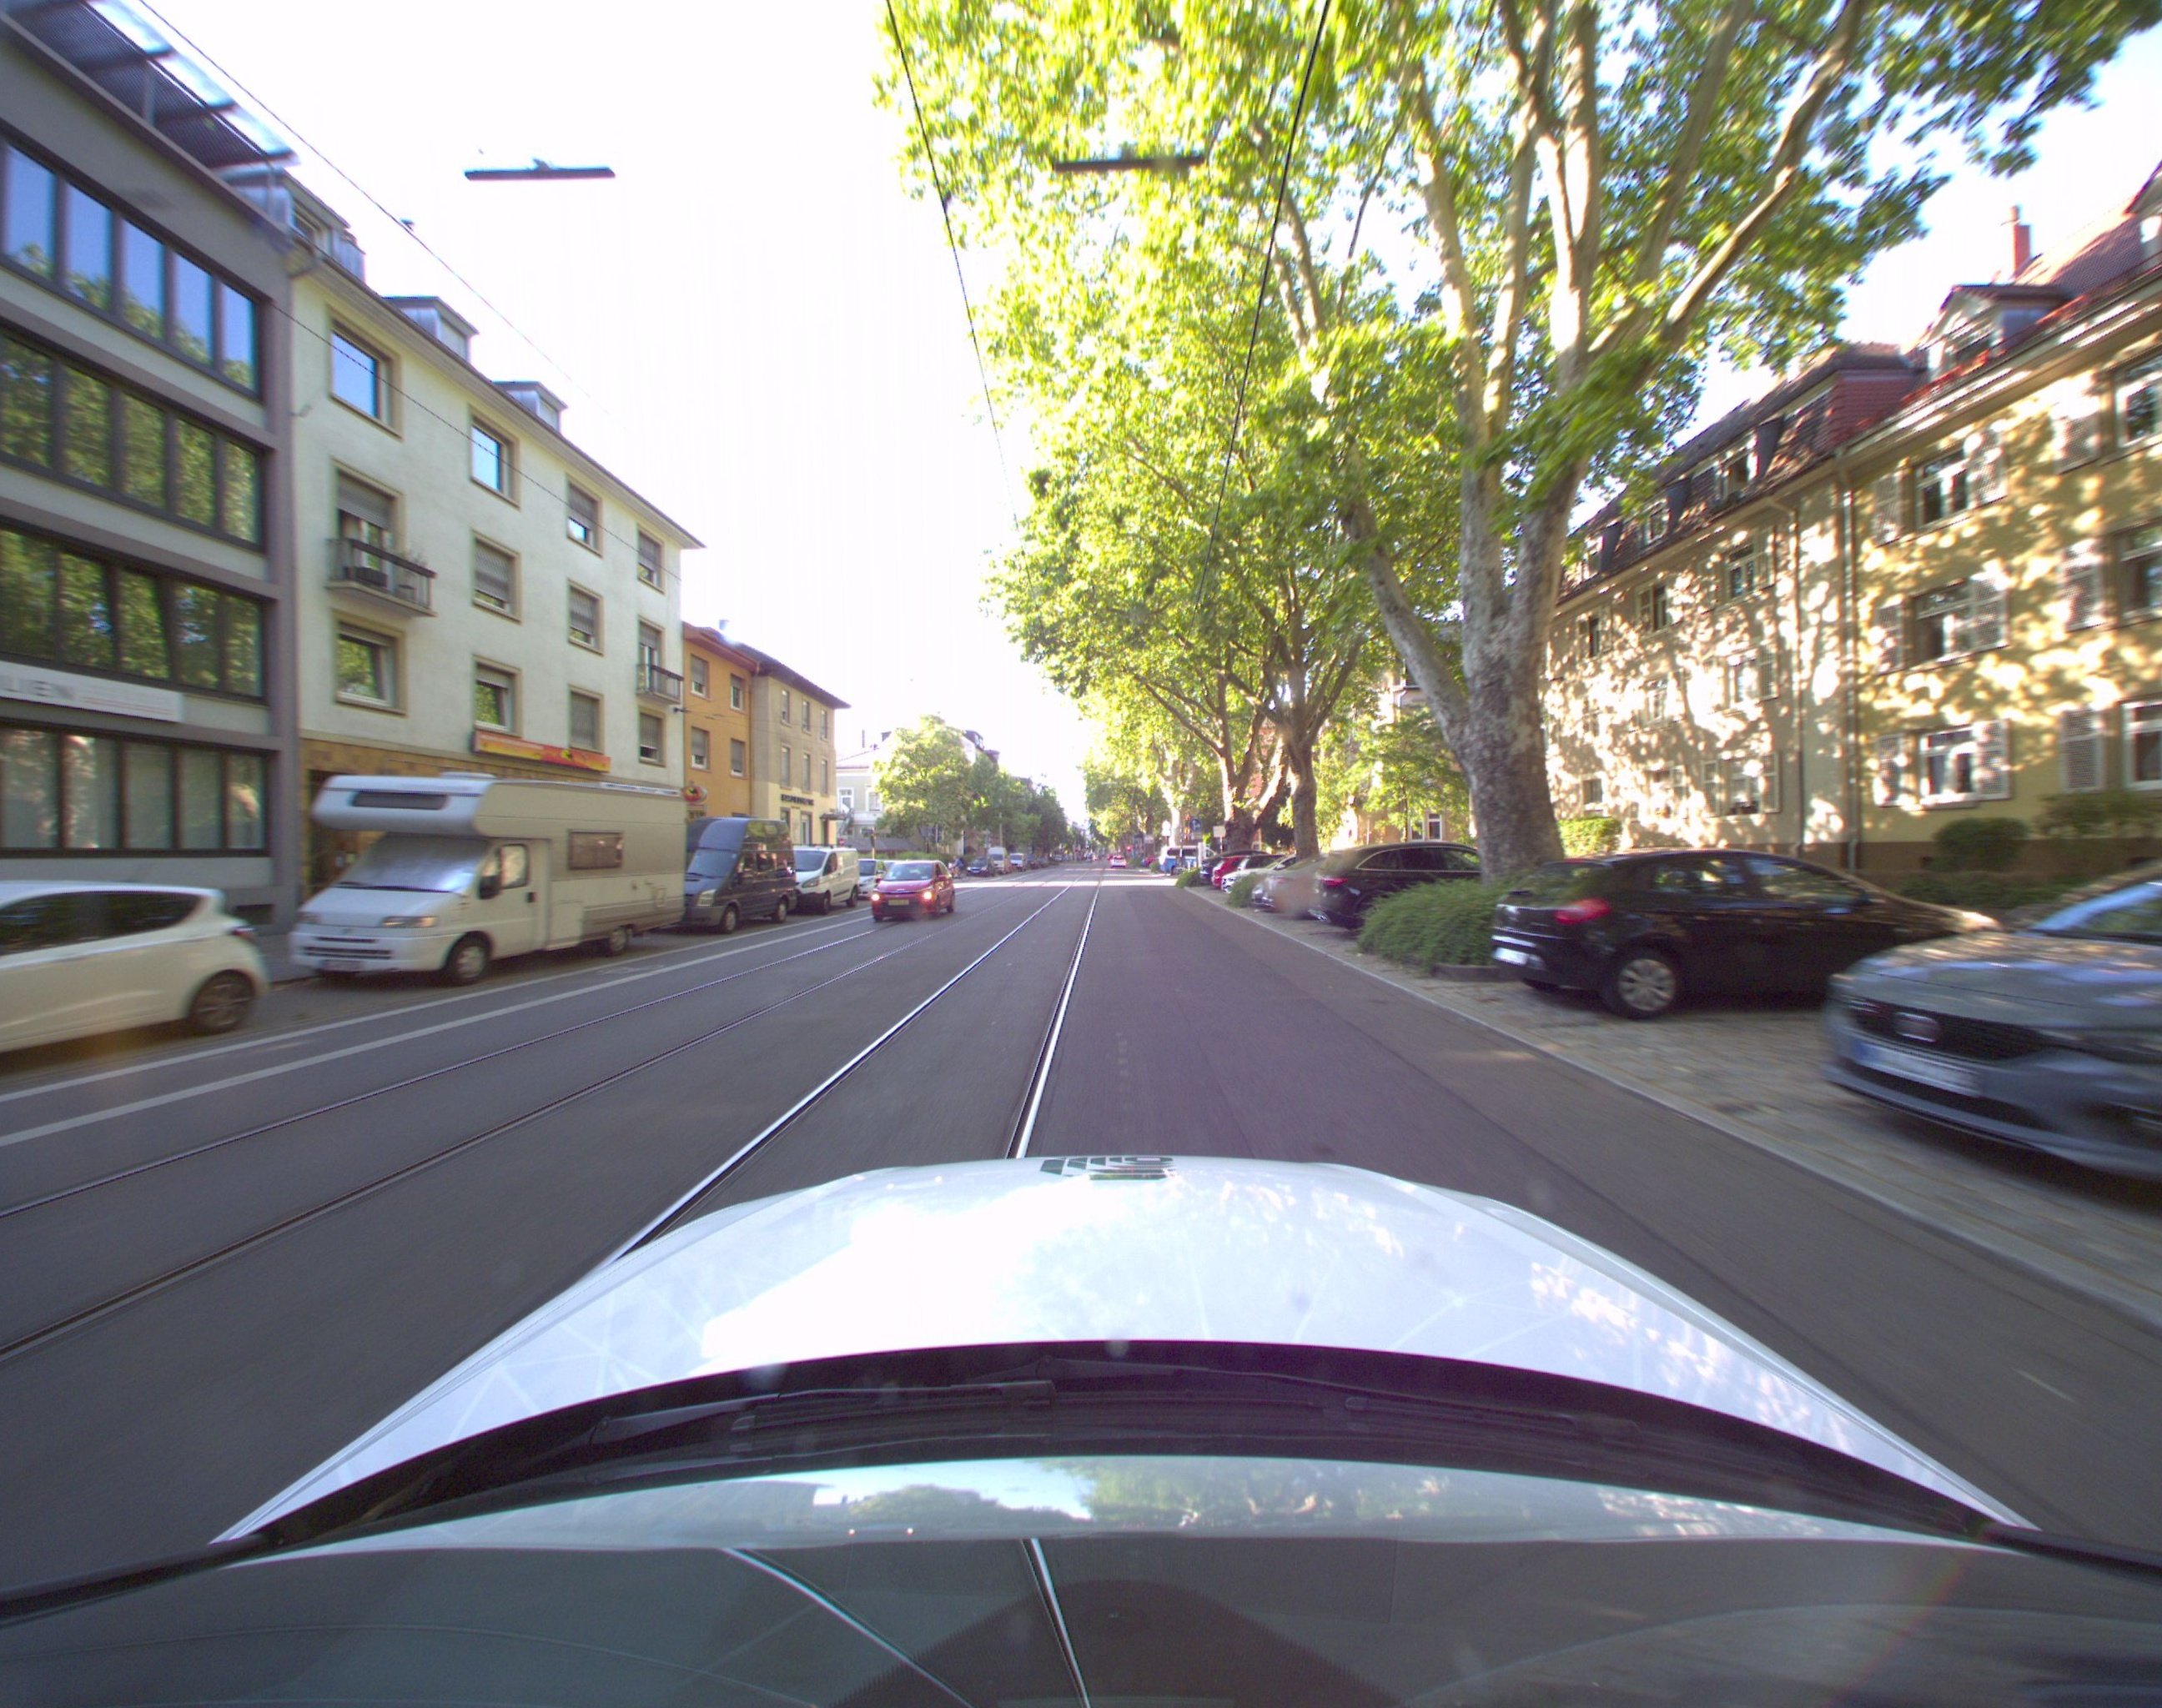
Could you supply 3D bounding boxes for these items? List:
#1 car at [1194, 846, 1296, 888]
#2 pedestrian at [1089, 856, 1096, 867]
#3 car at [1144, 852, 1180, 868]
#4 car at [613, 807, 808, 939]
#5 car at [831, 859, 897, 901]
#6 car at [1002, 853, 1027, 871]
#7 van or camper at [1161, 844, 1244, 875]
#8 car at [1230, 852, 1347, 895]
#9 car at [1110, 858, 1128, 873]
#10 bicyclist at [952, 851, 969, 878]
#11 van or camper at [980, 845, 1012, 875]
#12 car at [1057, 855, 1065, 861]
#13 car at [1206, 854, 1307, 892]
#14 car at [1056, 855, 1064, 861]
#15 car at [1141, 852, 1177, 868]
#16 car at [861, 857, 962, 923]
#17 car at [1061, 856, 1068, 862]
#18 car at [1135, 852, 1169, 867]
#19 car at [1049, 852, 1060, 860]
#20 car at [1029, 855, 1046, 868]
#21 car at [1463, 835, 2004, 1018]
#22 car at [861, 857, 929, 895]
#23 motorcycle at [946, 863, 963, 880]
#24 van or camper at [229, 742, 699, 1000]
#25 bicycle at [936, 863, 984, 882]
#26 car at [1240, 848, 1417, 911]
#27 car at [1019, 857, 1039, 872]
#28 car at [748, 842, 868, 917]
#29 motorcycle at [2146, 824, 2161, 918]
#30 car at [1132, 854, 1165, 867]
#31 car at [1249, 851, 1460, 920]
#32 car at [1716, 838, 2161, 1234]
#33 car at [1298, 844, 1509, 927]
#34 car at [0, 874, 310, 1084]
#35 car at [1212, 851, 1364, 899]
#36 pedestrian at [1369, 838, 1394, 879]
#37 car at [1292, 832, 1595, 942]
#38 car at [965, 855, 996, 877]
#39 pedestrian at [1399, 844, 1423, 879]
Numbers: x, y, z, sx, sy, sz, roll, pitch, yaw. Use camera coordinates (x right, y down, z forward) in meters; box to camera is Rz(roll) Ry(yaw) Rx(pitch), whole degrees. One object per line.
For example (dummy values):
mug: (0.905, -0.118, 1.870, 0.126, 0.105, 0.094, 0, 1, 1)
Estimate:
car: (6.887, 0.530, 34.498, 3.911, 1.670, 1.960, -1, 0, 0)
pedestrian: (2.185, 1.370, 155.134, 1.043, 2.013, 1.083, -1, 0, 5)
car: (9.252, 0.660, 93.036, 3.972, 1.784, 2.001, -1, 0, 2)
car: (-8.698, 0.393, 19.837, 2.079, 2.731, 5.312, 2, 0, 2)
car: (-8.398, 0.980, 31.748, 1.565, 1.526, 3.043, 1, 0, 4)
car: (-7.133, 0.868, 87.514, 2.165, 1.861, 4.661, -1, 0, 2)
van or camper: (8.682, 0.363, 58.386, 5.542, 2.013, 2.242, -1, 2, -3)
car: (7.544, 0.692, 29.841, 3.868, 1.435, 1.754, -1, 0, 1)
car: (4.381, 1.291, 94.419, 1.911, 1.584, 3.792, -2, 0, 1)
bicyclist: (-7.691, 0.675, 51.922, 1.045, 1.705, 1.055, -1, 0, -8)
van or camper: (-7.591, 0.516, 72.840, 2.071, 2.533, 5.320, -1, 0, 2)
car: (-4.912, 0.970, 202.738, 1.914, 1.419, 3.586, -3, -1, -3)
car: (6.902, 0.725, 32.272, 3.636, 1.378, 1.891, -1, 0, 2)
car: (-5.111, 0.952, 198.494, 1.912, 1.419, 3.589, -1, 0, -1)
car: (9.109, 0.671, 95.324, 3.972, 1.784, 2.001, -1, 0, 2)
car: (-4.322, 0.864, 21.365, 1.657, 1.479, 3.952, -2, 0, 2)
car: (-4.424, 1.304, 220.585, 1.912, 1.419, 3.590, -1, 0, 0)
car: (8.624, 0.649, 98.601, 3.972, 1.784, 2.001, -1, 0, 2)
car: (-5.393, 0.369, 166.126, 1.912, 1.419, 3.719, -1, -1, 0)
car: (-6.240, 1.076, 117.852, 1.986, 1.745, 4.661, -1, 0, 2)
car: (5.994, 0.627, 7.853, 3.824, 1.509, 1.711, -1, 0, 1)
car: (-8.234, 0.937, 36.434, 1.830, 1.468, 5.068, 2, 0, 0)
motorcycle: (-9.247, 1.245, 59.519, 0.760, 1.107, 2.331, -1, 2, 2)
van or camper: (-8.981, 0.194, 13.066, 2.328, 3.041, 6.402, 2, 0, 3)
bicycle: (-7.688, 1.153, 51.936, 2.946, 1.105, 1.049, -1, 0, -8)
car: (6.425, 0.639, 21.480, 4.126, 1.509, 1.797, -1, 0, 2)
car: (-6.497, 1.294, 101.921, 1.986, 1.861, 4.180, -1, 0, 2)
car: (-8.471, 0.695, 25.852, 1.946, 2.091, 5.248, 2, 1, 0)
motorcycle: (16.572, 0.187, 11.651, 1.798, 1.361, 0.622, -4, 0, -1)
car: (8.392, 0.778, 100.914, 3.972, 1.521, 2.001, -1, 0, 2)
car: (6.255, 0.697, 19.004, 4.281, 1.439, 1.948, -1, 0, 0)
car: (5.981, 0.656, 3.995, 4.231, 1.483, 1.898, -1, 0, 1)
car: (6.506, 0.616, 16.776, 3.662, 1.547, 1.779, -1, 0, 3)
car: (-9.098, 0.991, 6.713, 1.704, 1.488, 3.862, 2, 0, 1)
car: (6.867, 0.685, 27.401, 4.669, 1.446, 1.893, -1, 0, 1)
pedestrian: (13.073, 0.210, 35.454, 0.757, 1.739, 0.821, -1, 0, 2)
car: (6.217, 0.555, 14.477, 4.474, 1.602, 2.030, -3, 0, 5)
car: (-7.788, 0.931, 63.602, 1.780, 1.587, 4.344, 2, 0, 1)
pedestrian: (13.910, 0.312, 34.321, 0.659, 1.455, 0.821, -1, 0, 2)
